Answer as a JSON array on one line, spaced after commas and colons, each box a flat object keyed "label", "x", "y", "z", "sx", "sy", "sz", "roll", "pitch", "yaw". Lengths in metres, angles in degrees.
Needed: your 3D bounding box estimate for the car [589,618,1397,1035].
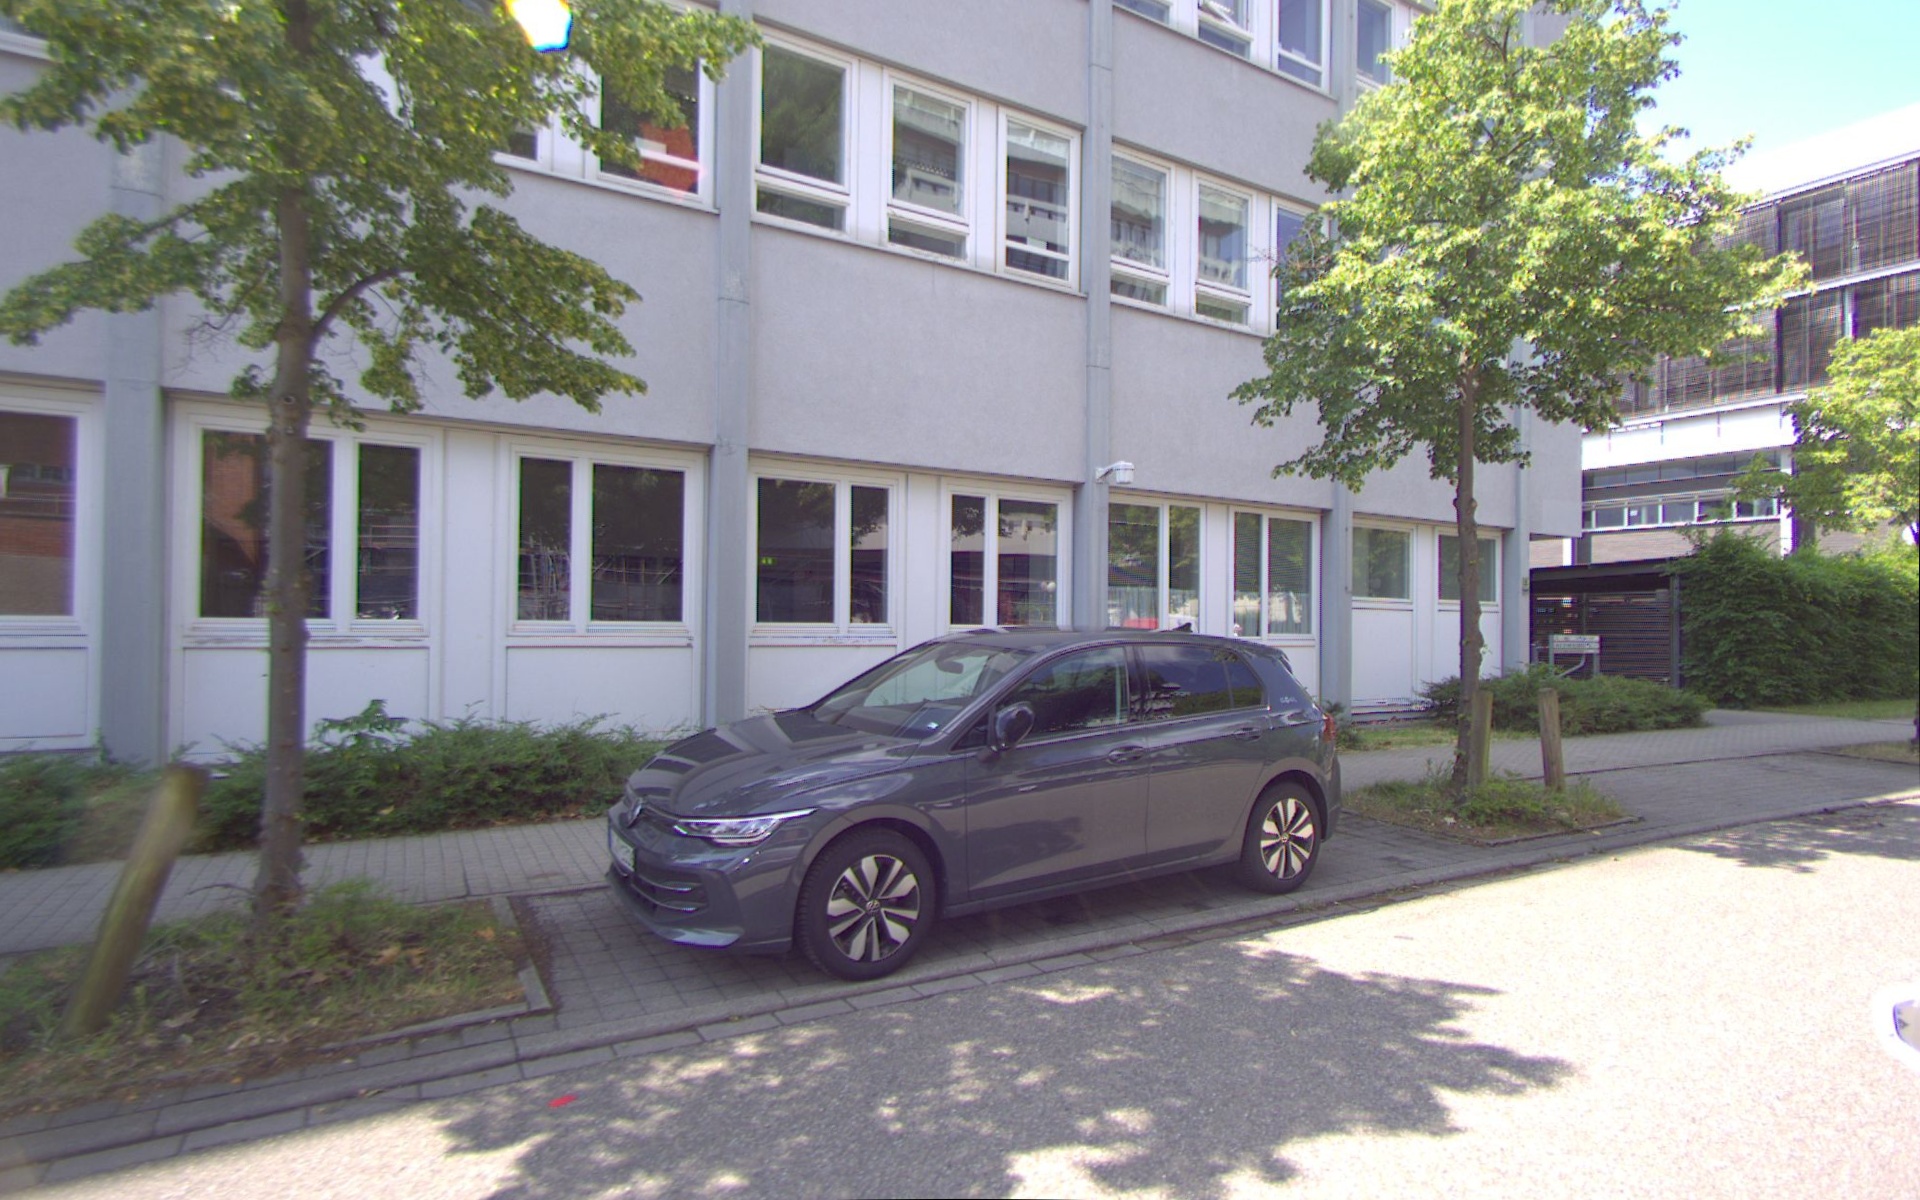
[{"label": "car", "x": 0.340, "y": 0.881, "z": 5.557, "sx": 4.212, "sy": 1.480, "sz": 1.768, "roll": 1, "pitch": 0, "yaw": -33}]
